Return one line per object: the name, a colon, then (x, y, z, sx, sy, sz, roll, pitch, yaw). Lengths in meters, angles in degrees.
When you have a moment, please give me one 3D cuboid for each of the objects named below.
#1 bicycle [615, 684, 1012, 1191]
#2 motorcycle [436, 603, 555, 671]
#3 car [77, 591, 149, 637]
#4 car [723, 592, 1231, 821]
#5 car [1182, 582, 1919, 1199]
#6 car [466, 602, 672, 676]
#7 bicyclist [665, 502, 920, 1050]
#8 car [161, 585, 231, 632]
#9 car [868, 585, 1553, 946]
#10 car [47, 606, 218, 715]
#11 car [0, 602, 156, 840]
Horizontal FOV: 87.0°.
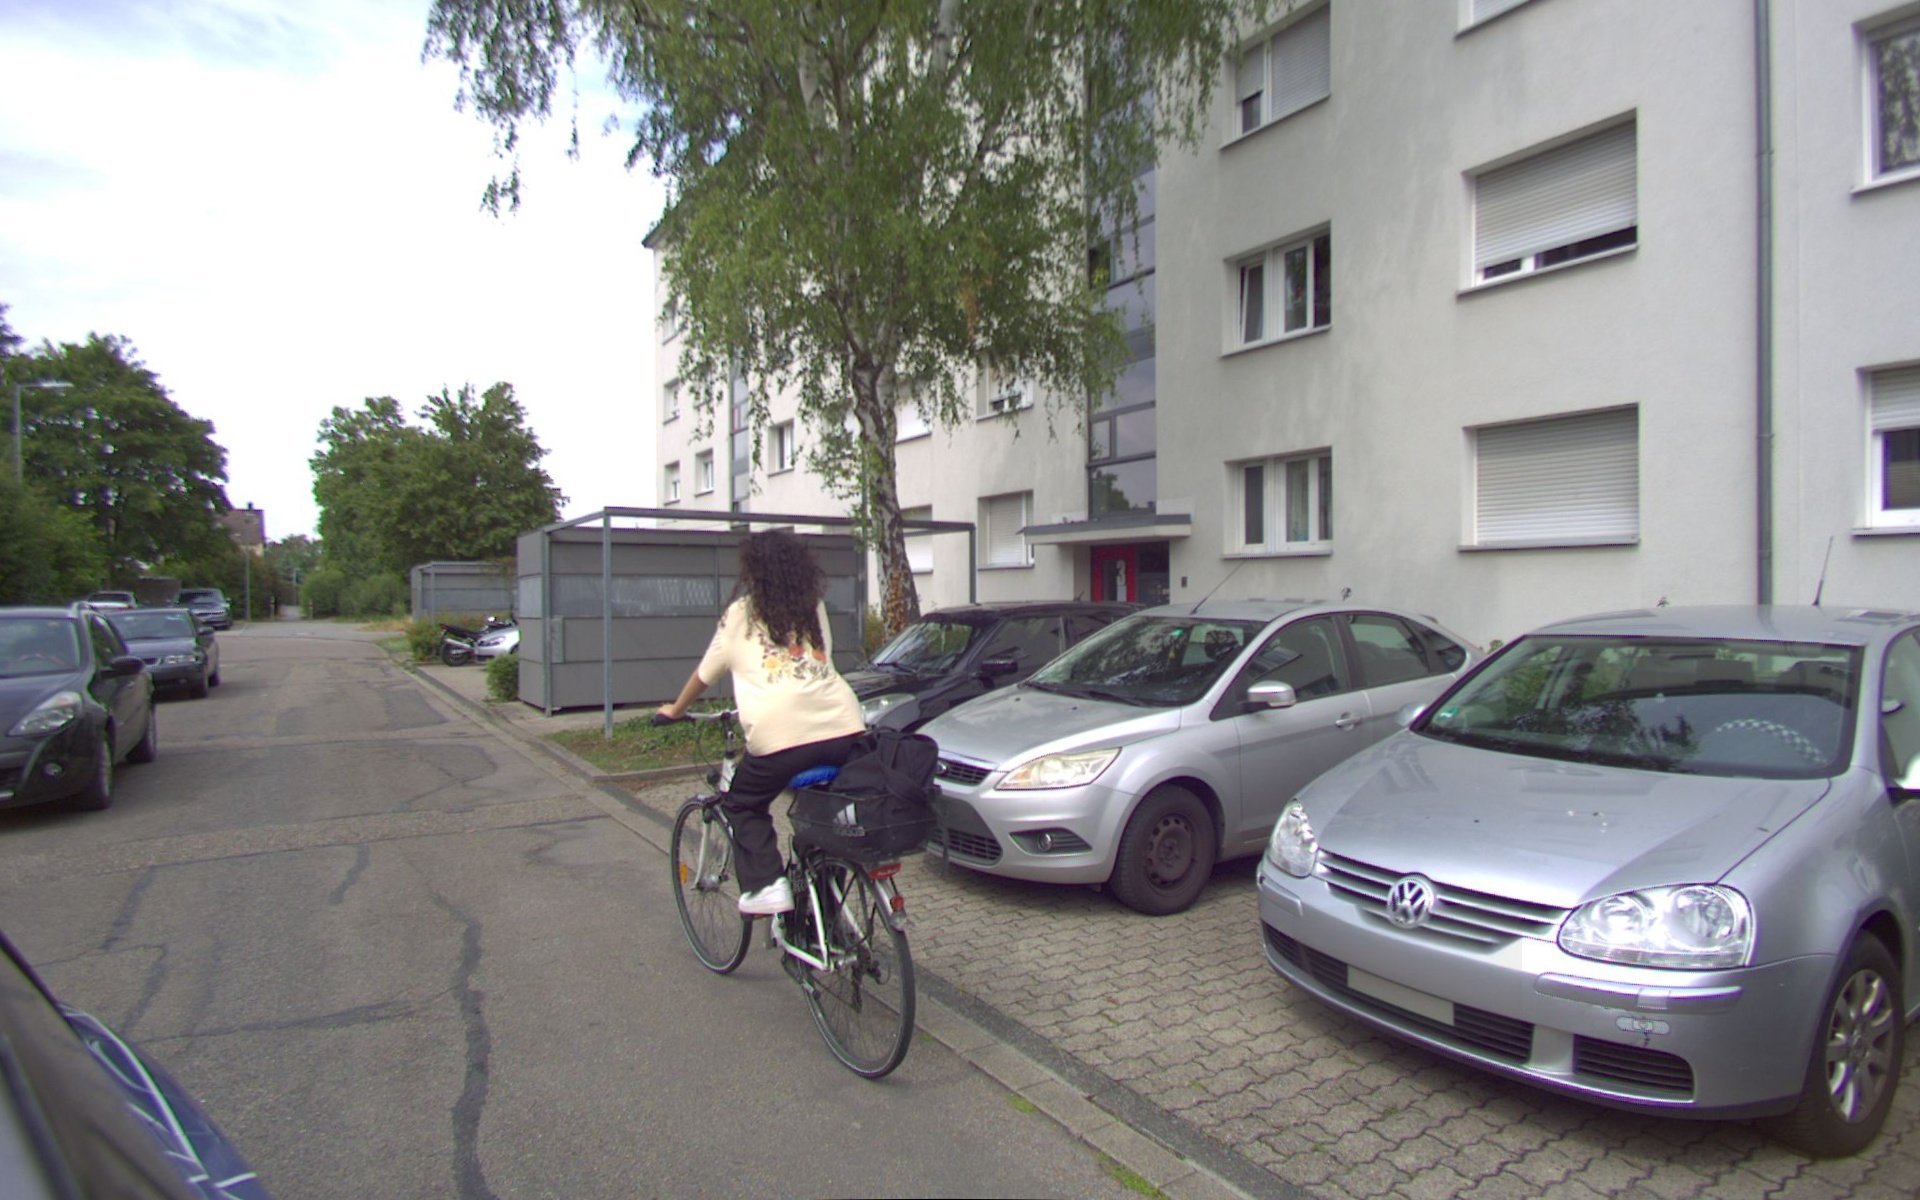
bicycle: (-0.649, 0.913, 3.515, 0.589, 1.084, 2.048, 1, -1, -32)
motorcycle: (-10.579, 0.838, 23.100, 2.345, 1.475, 0.716, 2, -1, -34)
car: (-30.377, 0.449, 36.384, 1.678, 1.477, 4.010, -1, 2, -36)
car: (0.232, 0.713, 8.571, 3.996, 1.516, 1.787, 0, 0, -34)
car: (2.938, 0.706, 3.938, 3.996, 1.475, 1.787, 0, 0, -34)
car: (-8.623, 0.841, 22.382, 3.932, 1.497, 1.908, 2, -1, -32)
bicyclist: (-0.587, 0.515, 3.428, 0.589, 1.593, 0.769, 1, -1, -32)
car: (-28.007, 0.291, 37.193, 1.896, 1.597, 4.010, -3, 1, -36)
car: (1.633, 0.702, 6.111, 3.996, 1.516, 1.787, 0, 0, -34)
car: (-13.221, 0.861, 16.404, 1.805, 1.469, 4.200, -2, 1, -35)
car: (-7.529, 0.788, 7.795, 1.805, 1.469, 4.200, -2, 1, -35)
